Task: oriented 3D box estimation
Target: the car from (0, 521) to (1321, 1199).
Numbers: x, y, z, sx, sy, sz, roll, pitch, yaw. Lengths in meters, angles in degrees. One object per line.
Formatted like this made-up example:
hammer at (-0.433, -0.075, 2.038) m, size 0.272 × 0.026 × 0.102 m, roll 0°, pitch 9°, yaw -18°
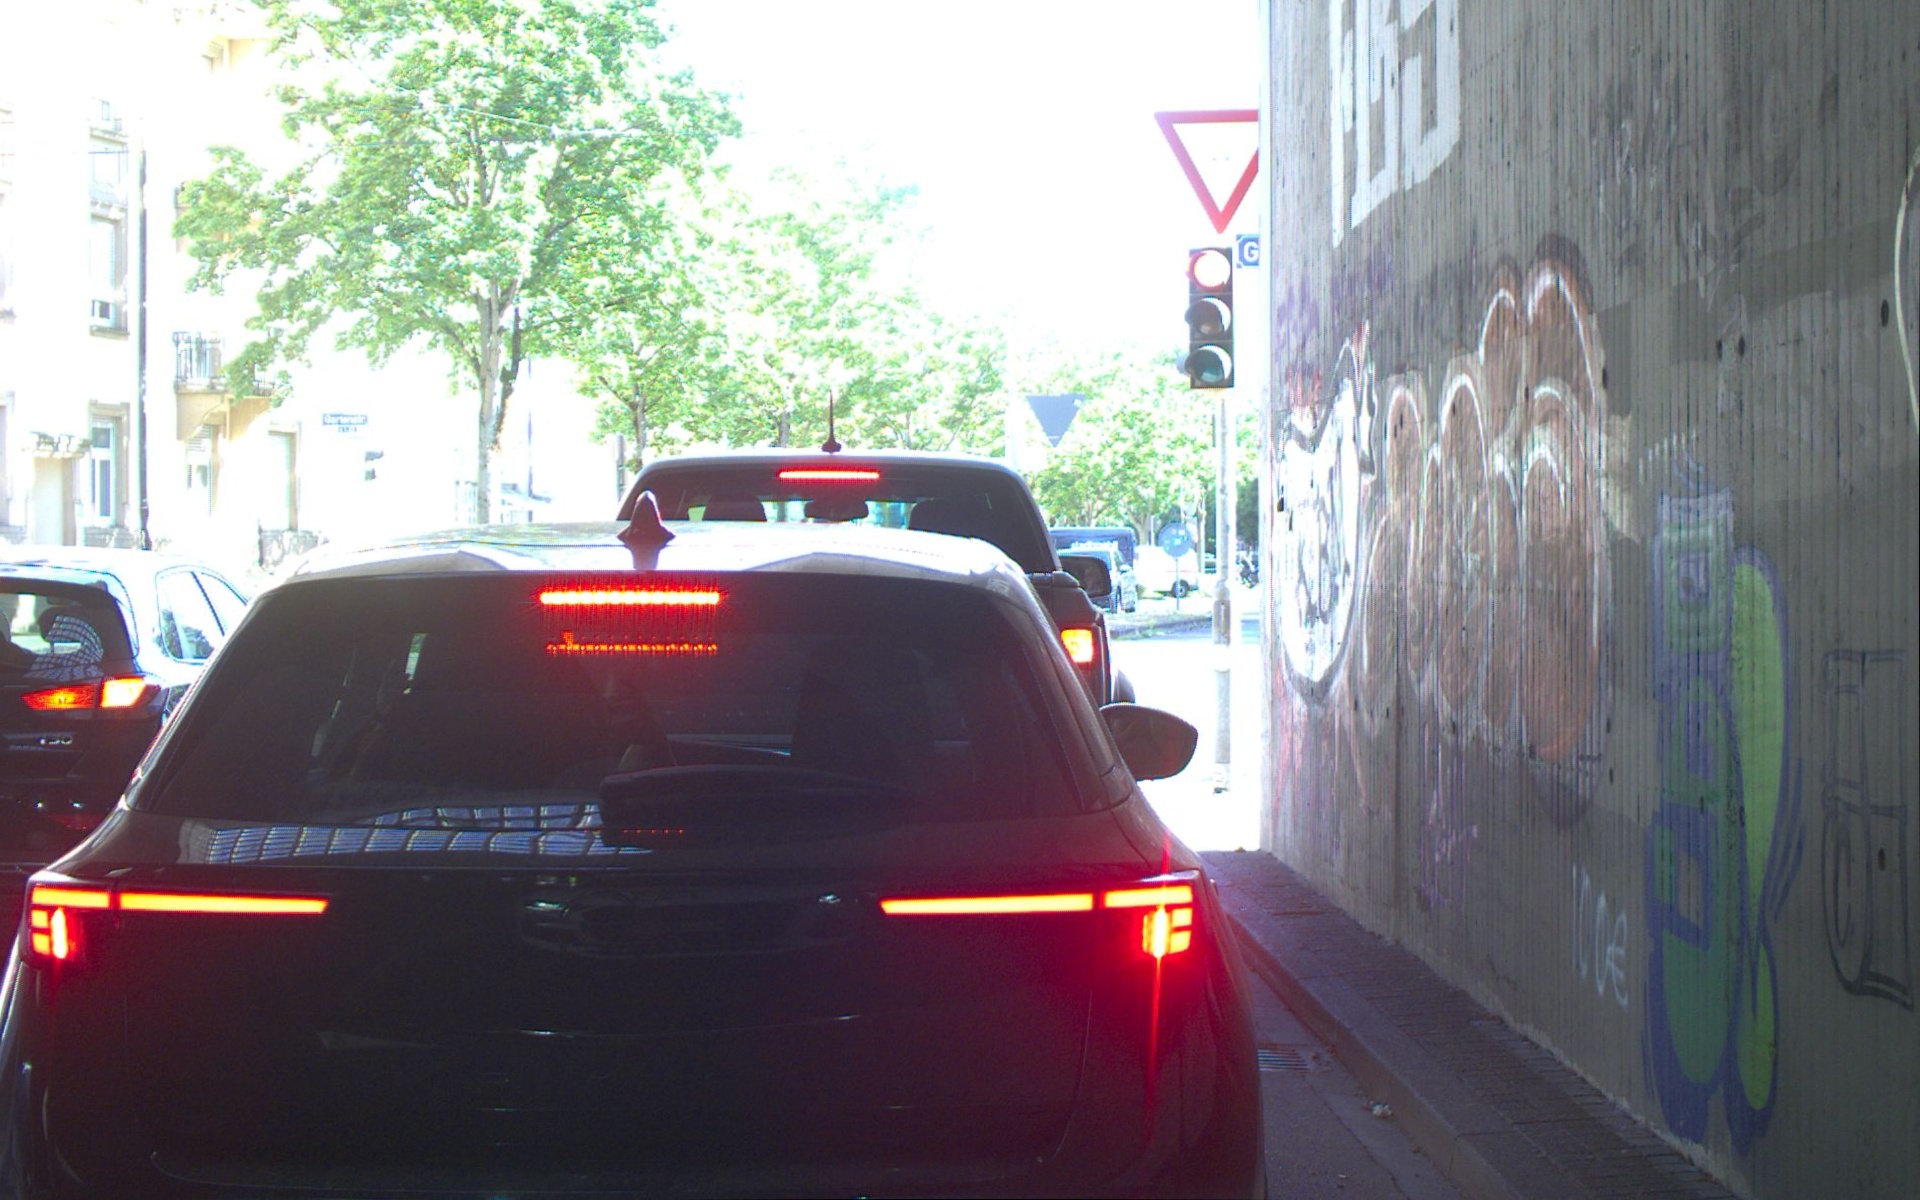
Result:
car at (-0.478, 0.638, 6.114) m, size 1.762 × 1.526 × 4.089 m, roll 0°, pitch 1°, yaw -1°

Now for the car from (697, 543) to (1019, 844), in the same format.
car at (-0.534, 0.437, 19.274) m, size 1.609 × 1.508 × 4.054 m, roll 0°, pitch 1°, yaw -1°

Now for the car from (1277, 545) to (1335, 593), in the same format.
car at (12.429, -1.121, 123.324) m, size 1.754 × 1.661 × 3.943 m, roll 1°, pitch 1°, yaw 11°

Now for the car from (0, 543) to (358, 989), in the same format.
car at (-3.527, 0.518, 13.303) m, size 1.762 × 1.475 × 3.844 m, roll 0°, pitch 1°, yaw -1°

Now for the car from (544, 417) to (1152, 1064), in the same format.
car at (-0.350, 0.375, 12.054) m, size 1.762 × 1.876 × 4.146 m, roll 0°, pitch 1°, yaw -1°

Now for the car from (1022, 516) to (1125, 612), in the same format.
car at (2.082, -0.653, 62.210) m, size 1.754 × 1.661 × 3.944 m, roll 1°, pitch 1°, yaw 3°

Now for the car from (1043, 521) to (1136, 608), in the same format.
car at (2.603, -0.707, 68.329) m, size 1.754 × 1.661 × 3.944 m, roll 1°, pitch 1°, yaw 3°

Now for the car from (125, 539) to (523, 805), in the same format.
car at (-3.776, 0.371, 21.027) m, size 1.762 × 1.475 × 3.844 m, roll 0°, pitch 1°, yaw -1°

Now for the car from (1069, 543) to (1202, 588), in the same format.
car at (6.836, -1.351, 133.788) m, size 4.798 × 1.661 × 1.824 m, roll 1°, pitch 1°, yaw -21°
